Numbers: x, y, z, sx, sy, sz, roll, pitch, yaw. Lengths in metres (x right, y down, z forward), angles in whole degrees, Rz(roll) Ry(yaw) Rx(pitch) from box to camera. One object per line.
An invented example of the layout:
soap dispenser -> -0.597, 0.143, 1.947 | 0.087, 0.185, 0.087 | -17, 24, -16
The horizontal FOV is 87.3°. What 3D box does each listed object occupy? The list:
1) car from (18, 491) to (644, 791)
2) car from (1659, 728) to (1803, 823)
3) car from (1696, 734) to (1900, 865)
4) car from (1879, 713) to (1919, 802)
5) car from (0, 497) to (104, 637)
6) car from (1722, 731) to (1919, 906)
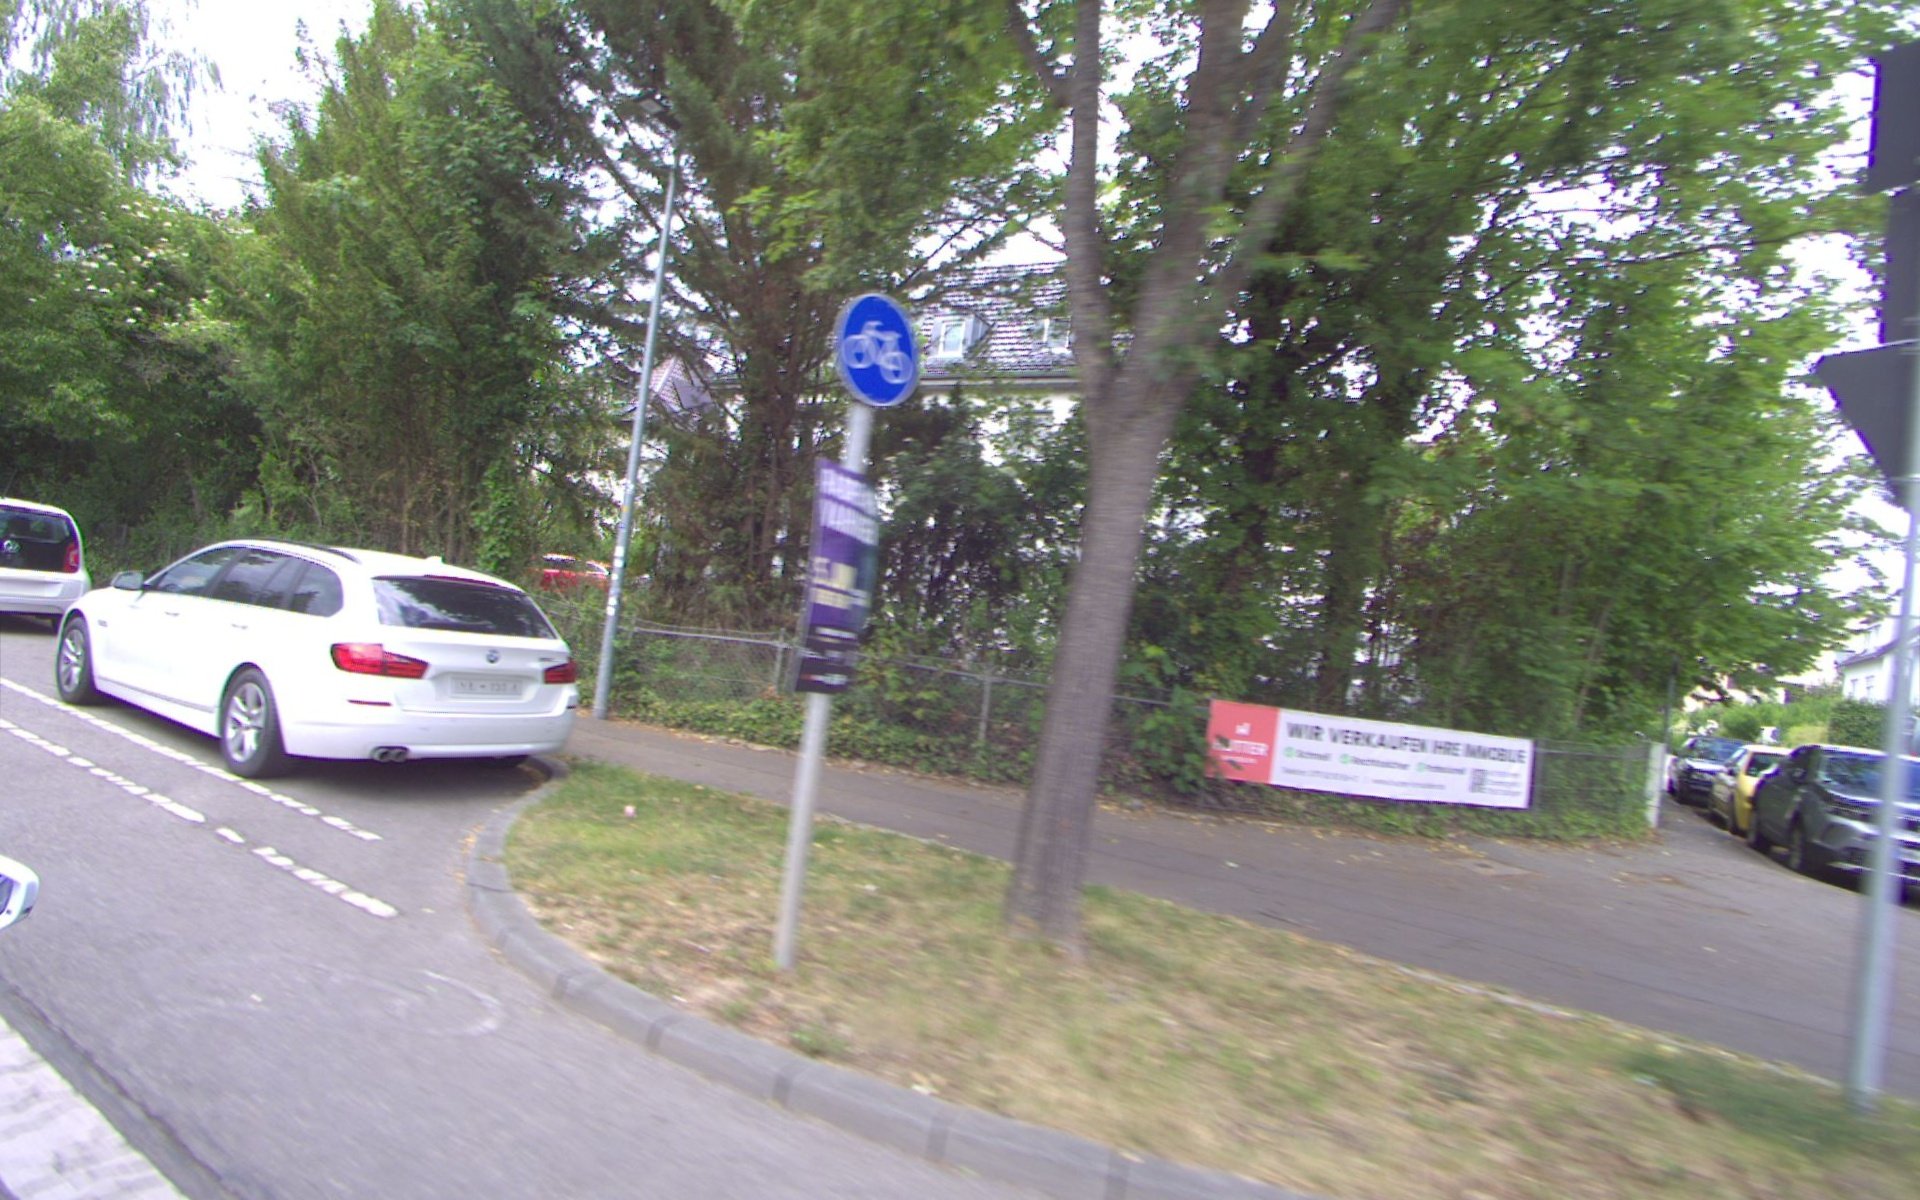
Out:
car -> -4.972, 0.187, 7.719 | 4.942, 1.460, 2.025 | 7, -2, 32
car -> 15.918, 3.559, 20.975 | 1.763, 1.433, 3.995 | 8, -1, 31
car -> 13.101, 3.026, 15.988 | 1.764, 1.433, 3.995 | 8, -1, 32
car -> 30.017, 4.881, 29.313 | 4.173, 2.538, 1.999 | 7, -1, 28
car -> -12.005, -0.562, 11.993 | 3.596, 1.477, 1.618 | 7, -1, 32
car -> 10.396, 2.448, 11.599 | 1.762, 1.476, 3.998 | 8, -1, 28
